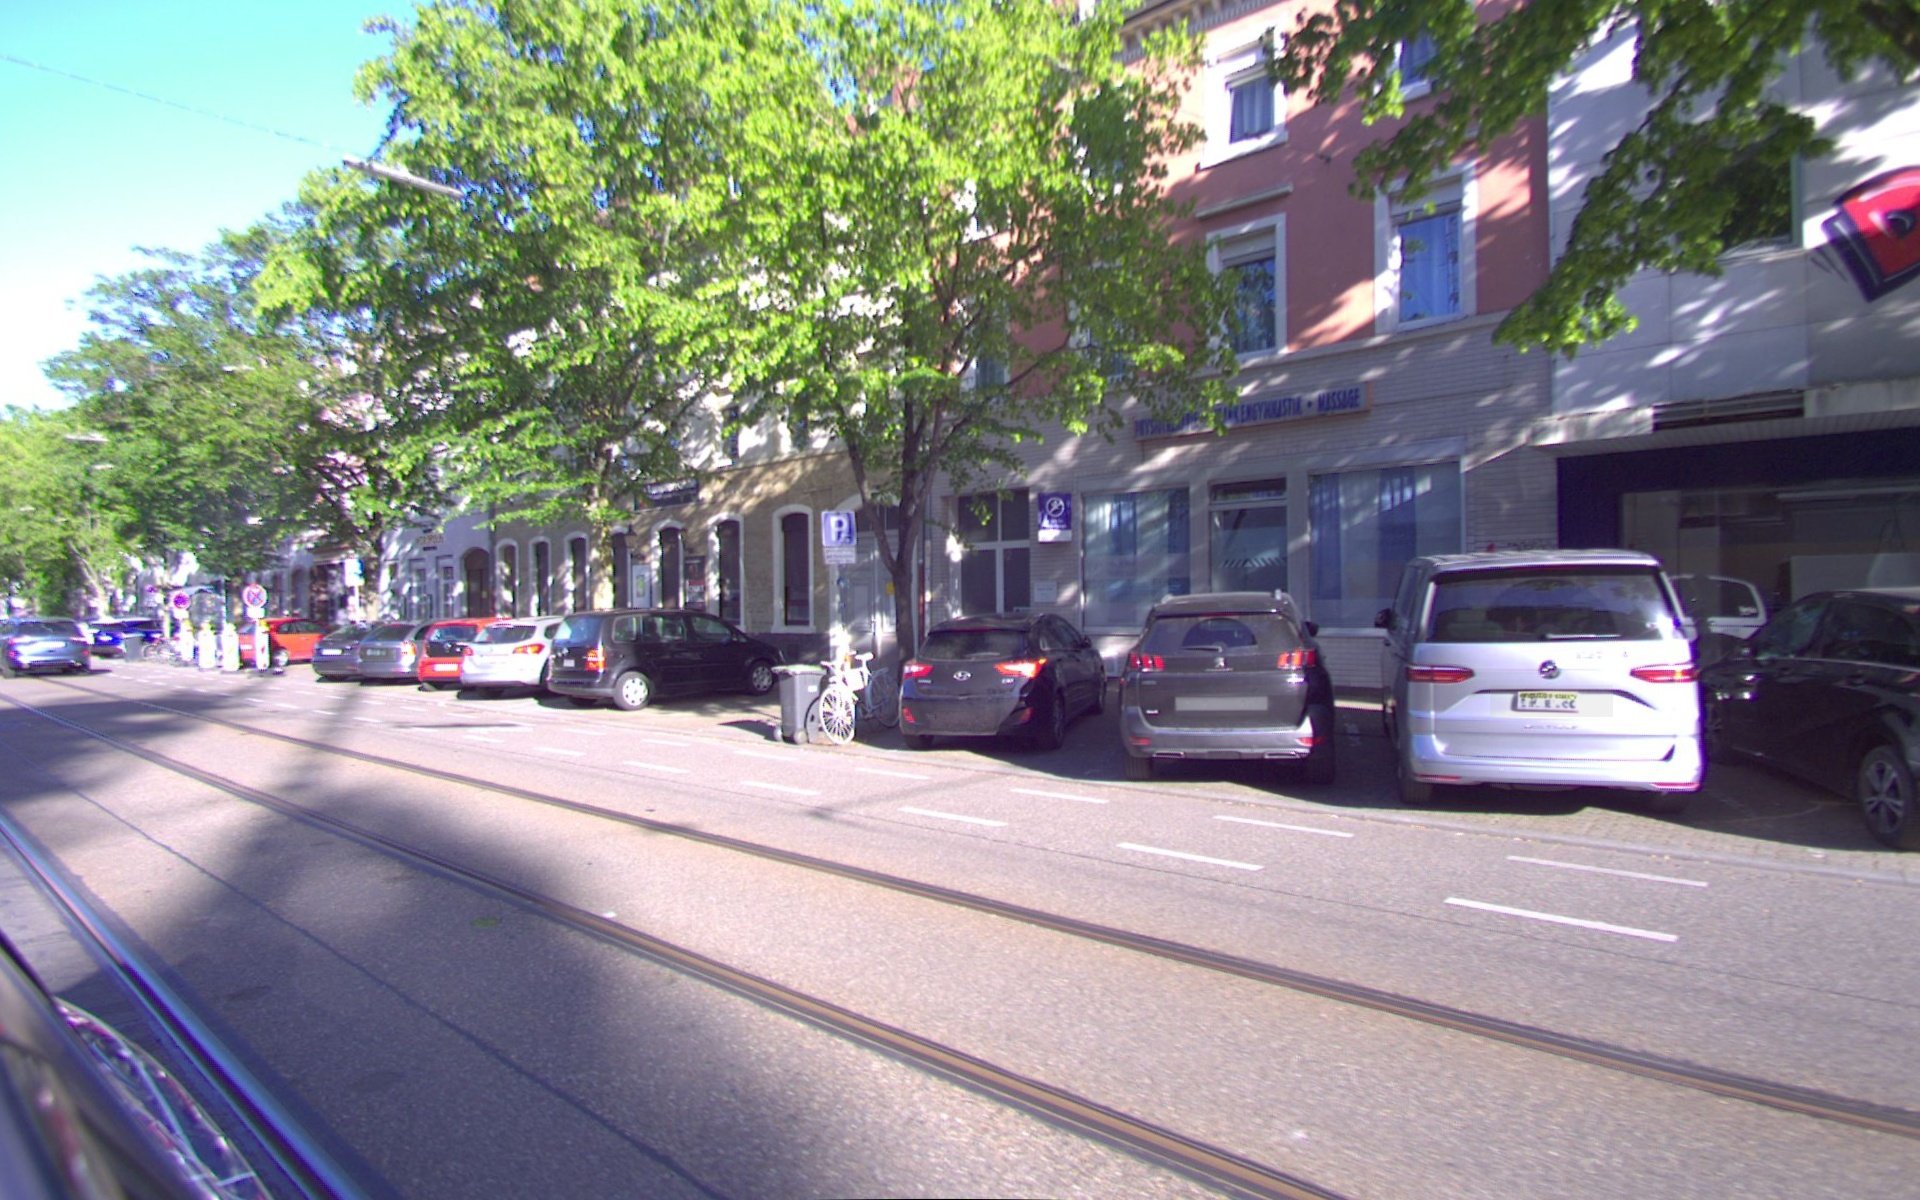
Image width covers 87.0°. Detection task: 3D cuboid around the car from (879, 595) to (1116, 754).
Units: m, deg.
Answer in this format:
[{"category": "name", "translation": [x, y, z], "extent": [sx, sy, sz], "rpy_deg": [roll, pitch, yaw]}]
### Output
[{"category": "car", "translation": [0.637, 0.763, 12.299], "extent": [1.829, 1.487, 3.845], "rpy_deg": [-1, 1, 19]}]

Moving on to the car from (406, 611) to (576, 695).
[{"category": "car", "translation": [-10.036, 1.089, 21.916], "extent": [1.597, 1.504, 3.360], "rpy_deg": [-2, 1, 13]}]

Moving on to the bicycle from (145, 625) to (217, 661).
[{"category": "bicycle", "translation": [-28.733, 1.572, 37.357], "extent": [0.567, 1.095, 1.981], "rpy_deg": [-2, 3, 43]}]

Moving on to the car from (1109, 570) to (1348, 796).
[{"category": "car", "translation": [2.793, 0.656, 9.933], "extent": [1.797, 1.698, 4.220], "rpy_deg": [-1, -1, 20]}]

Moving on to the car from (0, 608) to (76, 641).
[{"category": "car", "translation": [-63.868, 1.648, 69.587], "extent": [2.161, 2.134, 4.393], "rpy_deg": [-2, -1, 39]}]

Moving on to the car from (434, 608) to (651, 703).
[{"category": "car", "translation": [-8.040, 1.006, 19.928], "extent": [1.824, 1.524, 4.098], "rpy_deg": [-2, 1, 15]}]

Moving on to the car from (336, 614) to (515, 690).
[{"category": "car", "translation": [-12.389, 1.167, 23.706], "extent": [1.735, 1.481, 3.670], "rpy_deg": [-1, 1, 12]}]

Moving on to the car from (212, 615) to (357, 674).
[{"category": "car", "translation": [-21.264, 1.368, 32.022], "extent": [1.653, 1.565, 3.608], "rpy_deg": [-3, 0, 15]}]

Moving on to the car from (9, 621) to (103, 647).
[{"category": "car", "translation": [-57.194, 2.130, 64.089], "extent": [1.693, 1.564, 4.136], "rpy_deg": [-1, -1, 25]}]

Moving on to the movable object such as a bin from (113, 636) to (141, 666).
[{"category": "movable object such as a bin", "translation": [-32.028, 1.971, 38.926], "extent": [0.710, 1.086, 0.676], "rpy_deg": [-2, 2, 43]}]

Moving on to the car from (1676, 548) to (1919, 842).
[{"category": "car", "translation": [6.883, 0.492, 6.961], "extent": [1.895, 1.679, 4.273], "rpy_deg": [-2, 2, 17]}]

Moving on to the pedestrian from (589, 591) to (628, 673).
[{"category": "pedestrian", "translation": [-8.818, 0.786, 25.399], "extent": [0.556, 2.029, 0.723], "rpy_deg": [-2, -1, 42]}]

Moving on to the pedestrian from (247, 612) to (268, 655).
[{"category": "pedestrian", "translation": [-30.632, 1.438, 44.105], "extent": [0.624, 1.852, 0.636], "rpy_deg": [-2, -2, 43]}]

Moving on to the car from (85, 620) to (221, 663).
[{"category": "car", "translation": [-38.124, 1.918, 47.985], "extent": [2.183, 1.808, 4.928], "rpy_deg": [-1, 0, 8]}]

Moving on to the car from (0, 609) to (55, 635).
[{"category": "car", "translation": [-75.979, 1.766, 80.967], "extent": [2.064, 2.029, 4.895], "rpy_deg": [-1, -1, 27]}]

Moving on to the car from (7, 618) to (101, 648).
[{"category": "car", "translation": [-55.308, 2.006, 61.848], "extent": [1.690, 1.689, 3.972], "rpy_deg": [-2, 0, 21]}]

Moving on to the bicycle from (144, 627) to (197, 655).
[{"category": "bicycle", "translation": [-30.859, 1.611, 39.590], "extent": [0.387, 0.995, 1.588], "rpy_deg": [-2, 0, 30]}]

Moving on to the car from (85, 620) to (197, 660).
[{"category": "car", "translation": [-35.718, 1.705, 44.272], "extent": [1.554, 1.621, 3.896], "rpy_deg": [-1, -1, 5]}]

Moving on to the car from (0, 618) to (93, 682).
[{"category": "car", "translation": [-25.900, 1.348, 28.350], "extent": [4.247, 1.642, 1.907], "rpy_deg": [-2, -1, 42]}]

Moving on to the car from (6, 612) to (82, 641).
[{"category": "car", "translation": [-59.713, 1.714, 65.996], "extent": [1.377, 1.564, 3.346], "rpy_deg": [-1, 3, 26]}]

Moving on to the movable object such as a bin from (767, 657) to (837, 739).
[{"category": "movable object such as a bin", "translation": [-1.906, 1.175, 12.245], "extent": [0.572, 0.920, 0.572], "rpy_deg": [-3, 0, 25]}]

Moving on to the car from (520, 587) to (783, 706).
[{"category": "car", "translation": [-5.296, 0.716, 17.819], "extent": [1.839, 1.690, 4.065], "rpy_deg": [-1, 2, 39]}]

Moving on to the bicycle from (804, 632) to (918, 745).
[{"category": "bicycle", "translation": [-1.155, 1.027, 12.308], "extent": [0.489, 1.153, 1.957], "rpy_deg": [-1, 1, 23]}]

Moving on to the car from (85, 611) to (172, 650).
[{"category": "car", "translation": [-41.215, 1.497, 50.232], "extent": [1.707, 1.857, 3.450], "rpy_deg": [-1, -1, -5]}]

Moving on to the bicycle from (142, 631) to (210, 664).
[{"category": "bicycle", "translation": [-29.661, 1.778, 38.305], "extent": [0.568, 1.087, 1.946], "rpy_deg": [-2, 2, 43]}]

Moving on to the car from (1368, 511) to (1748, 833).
[{"category": "car", "translation": [4.669, 0.406, 8.660], "extent": [1.934, 2.001, 4.341], "rpy_deg": [-1, 1, 19]}]

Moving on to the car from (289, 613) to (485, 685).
[{"category": "car", "translation": [-14.264, 1.170, 25.488], "extent": [1.925, 1.502, 4.184], "rpy_deg": [-2, 1, 14]}]
